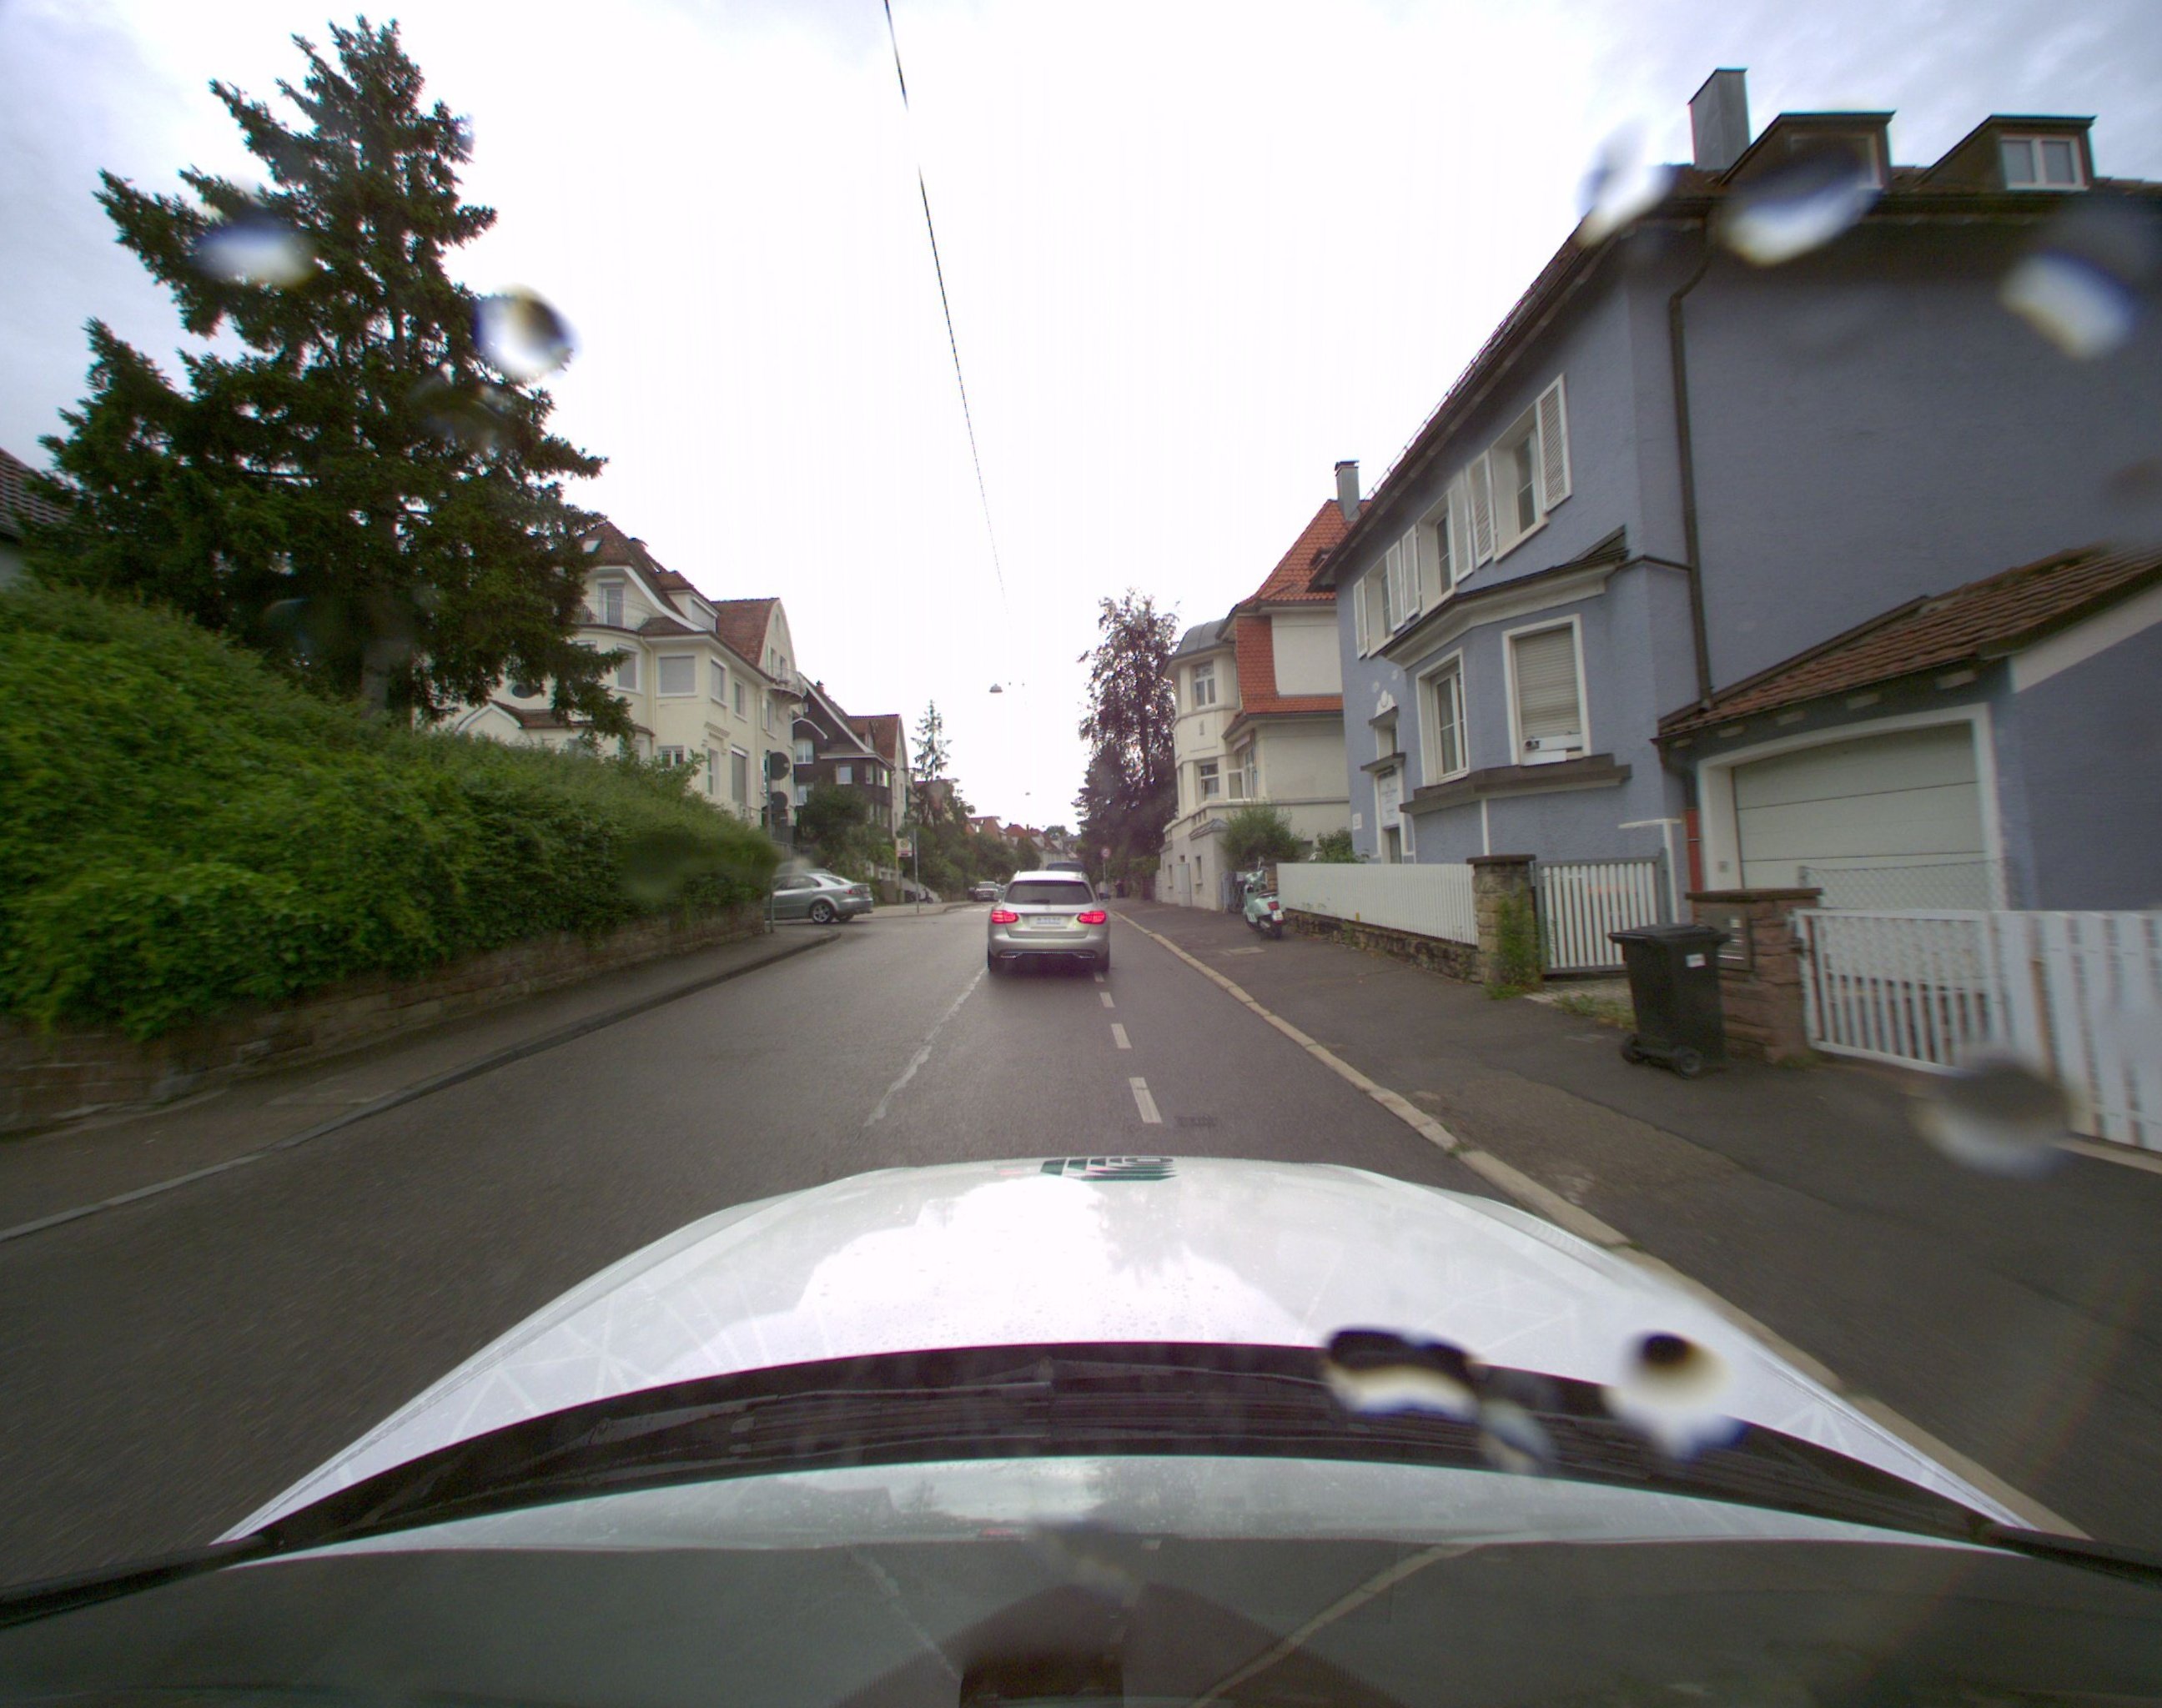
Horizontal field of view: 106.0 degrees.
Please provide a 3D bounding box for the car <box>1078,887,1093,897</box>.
[{"bbox_3d":[0.927,7.862,166.780,1.815,2.057,5.029,-2,-4,15],"label":"car"}]

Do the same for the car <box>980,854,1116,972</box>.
[{"bbox_3d":[-0.490,0.825,12.922,1.811,1.557,3.997,-1,-1,-2],"label":"car"}]

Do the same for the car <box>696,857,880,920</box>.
[{"bbox_3d":[-8.031,0.948,22.594,4.348,1.557,1.823,2,-1,2],"label":"car"}]

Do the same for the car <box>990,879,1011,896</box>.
[{"bbox_3d":[-7.740,3.215,78.392,1.752,1.447,4.411,-1,-1,-3],"label":"car"}]

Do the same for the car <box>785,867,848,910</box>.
[{"bbox_3d":[-11.272,1.453,34.995,1.763,1.696,3.991,-1,-1,-6],"label":"car"}]

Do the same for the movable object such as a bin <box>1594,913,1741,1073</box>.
[{"bbox_3d":[3.798,0.880,5.301,0.531,0.918,0.487,-4,-1,-4],"label":"movable object such as a bin"}]

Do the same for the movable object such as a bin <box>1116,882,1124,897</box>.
[{"bbox_3d":[2.533,2.283,53.097,0.493,0.956,0.502,-1,-1,-4],"label":"movable object such as a bin"}]

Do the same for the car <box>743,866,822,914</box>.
[{"bbox_3d":[-10.963,1.295,30.175,1.763,1.618,3.991,-1,-1,-6],"label":"car"}]

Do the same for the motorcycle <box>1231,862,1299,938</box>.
[{"bbox_3d":[3.381,0.810,15.139,0.690,1.226,2.154,-8,-1,2],"label":"motorcycle"}]

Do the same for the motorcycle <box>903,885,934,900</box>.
[{"bbox_3d":[-10.284,2.439,51.581,1.790,0.903,0.603,1,-3,-3],"label":"motorcycle"}]

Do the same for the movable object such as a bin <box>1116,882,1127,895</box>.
[{"bbox_3d":[2.604,2.230,52.516,0.649,0.856,0.502,-1,-1,-4],"label":"movable object such as a bin"}]

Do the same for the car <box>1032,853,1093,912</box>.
[{"bbox_3d":[-0.582,1.061,28.872,1.835,1.904,4.002,-1,-4,3],"label":"car"}]

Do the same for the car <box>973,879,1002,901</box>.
[{"bbox_3d":[-7.267,2.802,63.675,1.889,1.623,4.373,-1,-3,-3],"label":"car"}]
